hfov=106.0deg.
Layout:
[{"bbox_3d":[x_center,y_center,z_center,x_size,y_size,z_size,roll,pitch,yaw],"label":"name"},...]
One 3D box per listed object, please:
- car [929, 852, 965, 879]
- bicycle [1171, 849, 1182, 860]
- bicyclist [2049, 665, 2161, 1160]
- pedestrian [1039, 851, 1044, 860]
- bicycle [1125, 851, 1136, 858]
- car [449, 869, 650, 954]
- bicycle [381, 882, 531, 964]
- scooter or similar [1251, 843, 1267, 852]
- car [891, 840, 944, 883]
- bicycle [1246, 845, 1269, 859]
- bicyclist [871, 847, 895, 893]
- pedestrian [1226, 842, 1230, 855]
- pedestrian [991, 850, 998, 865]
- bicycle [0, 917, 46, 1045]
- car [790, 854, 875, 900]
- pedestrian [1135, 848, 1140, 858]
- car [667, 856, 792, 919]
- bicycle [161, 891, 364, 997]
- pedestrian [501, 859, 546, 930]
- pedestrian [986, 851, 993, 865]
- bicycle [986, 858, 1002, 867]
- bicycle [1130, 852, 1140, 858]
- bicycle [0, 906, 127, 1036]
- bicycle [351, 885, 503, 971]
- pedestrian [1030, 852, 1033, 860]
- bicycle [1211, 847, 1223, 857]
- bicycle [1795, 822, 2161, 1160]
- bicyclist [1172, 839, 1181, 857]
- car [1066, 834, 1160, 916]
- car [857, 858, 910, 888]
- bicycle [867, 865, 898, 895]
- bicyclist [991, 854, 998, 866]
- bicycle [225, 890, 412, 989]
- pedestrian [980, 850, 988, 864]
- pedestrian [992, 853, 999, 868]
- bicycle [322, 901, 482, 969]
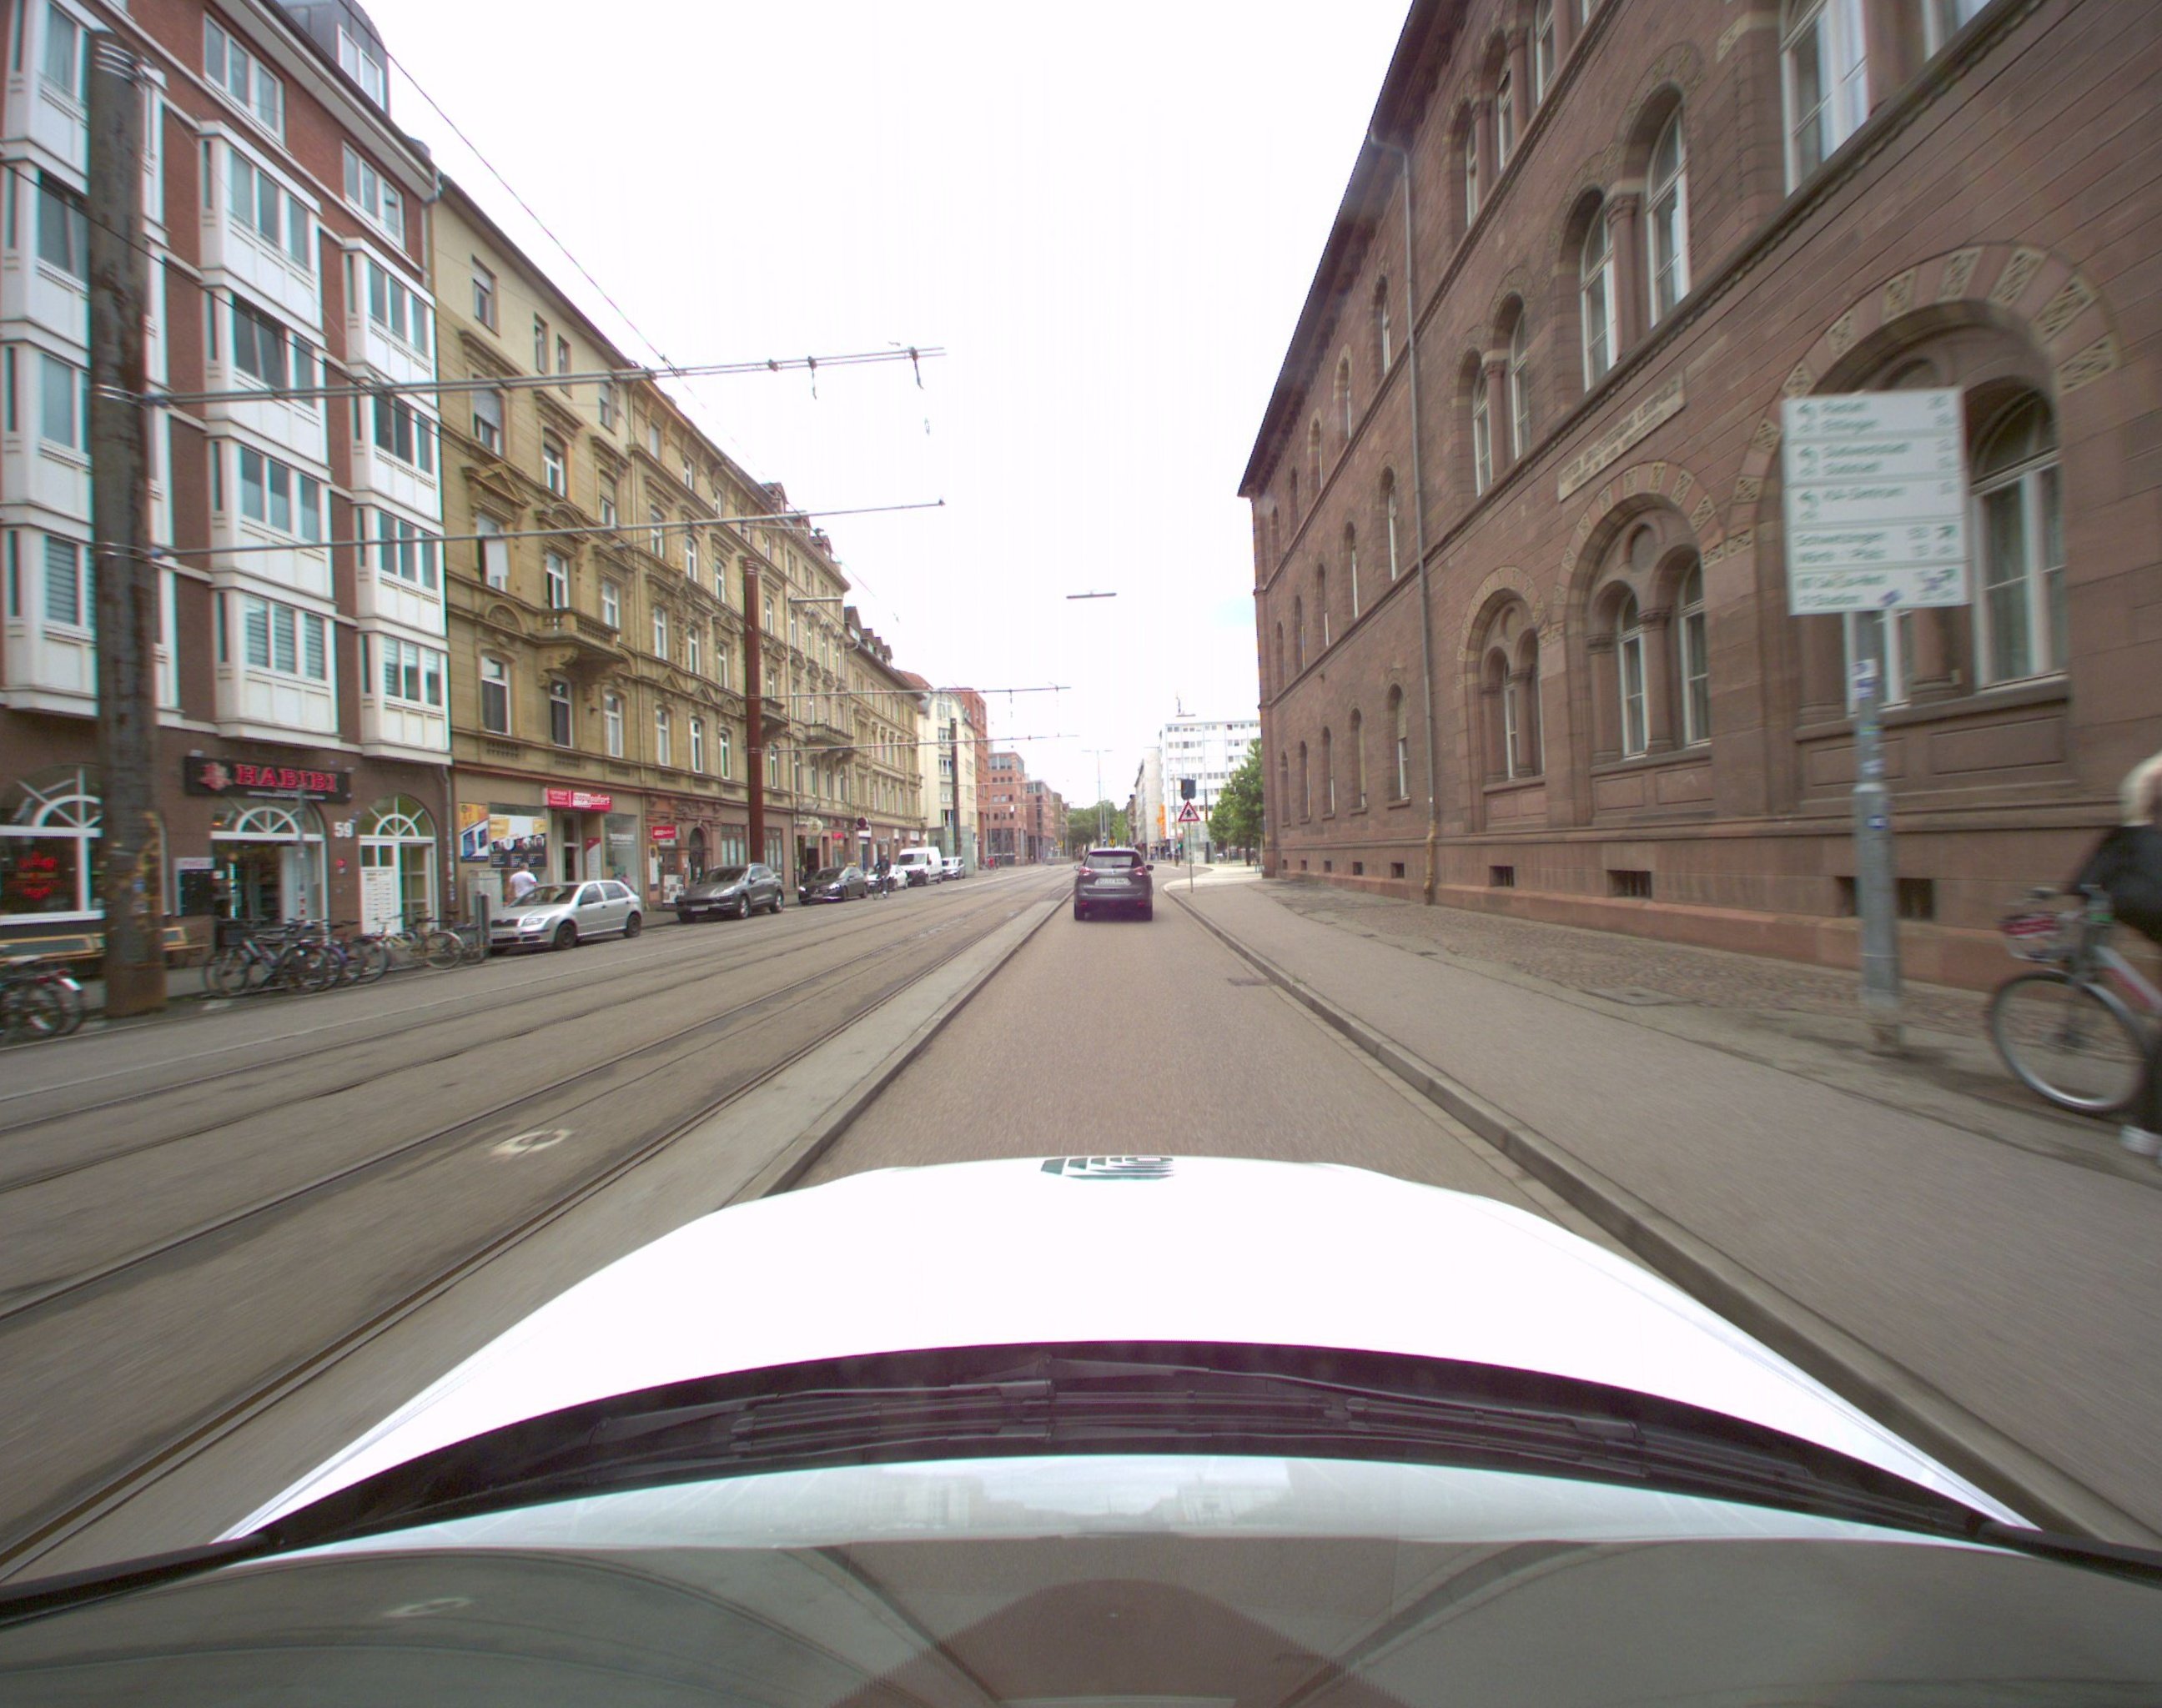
[{"bbox_3d":[-10.317,0.838,63.068,1.896,1.864,4.520,-4,0,1],"label":"car"},{"bbox_3d":[9.526,0.063,81.519,0.897,1.045,3.282,-2,0,5],"label":"bicycle"},{"bbox_3d":[4.305,0.216,3.129,0.527,1.858,0.451,-3,0,1],"label":"bicyclist"},{"bbox_3d":[-8.510,0.276,175.144,0.694,1.842,0.738,-1,0,17],"label":"pedestrian"},{"bbox_3d":[8.963,0.047,147.368,1.869,1.172,0.529,-1,0,-13],"label":"bicycle"},{"bbox_3d":[-11.582,1.170,18.105,1.737,1.488,3.921,-3,0,1],"label":"car"},{"bbox_3d":[-11.813,1.294,15.428,2.273,1.329,0.667,-4,0,2],"label":"bicycle"},{"bbox_3d":[21.232,-0.762,97.073,1.571,0.948,0.729,-4,-1,40],"label":"scooter or similar"},{"bbox_3d":[-10.492,0.436,52.694,2.046,2.486,5.667,-5,0,1],"label":"car"},{"bbox_3d":[14.876,-0.159,68.712,1.901,1.123,0.647,-1,0,12],"label":"bicycle"},{"bbox_3d":[-8.388,0.669,34.507,0.642,1.883,1.029,-1,0,3],"label":"bicyclist"},{"bbox_3d":[17.344,-0.624,96.072,0.431,1.555,0.499,-1,0,2],"label":"pedestrian"},{"bbox_3d":[-10.069,0.391,94.643,0.660,1.687,0.720,-2,-2,-11],"label":"pedestrian"},{"bbox_3d":[-12.264,1.327,8.556,2.273,1.294,0.448,0,0,2],"label":"bicycle"},{"bbox_3d":[-10.612,0.912,35.220,1.913,1.689,5.052,-5,0,1],"label":"car"},{"bbox_3d":[10.134,-0.183,146.286,0.731,1.745,0.662,-1,0,-6],"label":"pedestrian"},{"bbox_3d":[-11.195,1.000,26.397,1.808,1.689,5.030,-3,0,-1],"label":"car"},{"bbox_3d":[-11.989,1.307,11.969,2.273,1.329,0.667,-4,0,2],"label":"bicycle"},{"bbox_3d":[-14.356,1.025,20.978,0.646,1.782,0.790,-2,0,38],"label":"pedestrian"},{"bbox_3d":[-10.727,0.464,95.557,0.720,1.687,0.660,-2,-2,-9],"label":"pedestrian"},{"bbox_3d":[-10.845,1.048,101.321,1.903,1.021,0.480,-3,0,-6],"label":"bicycle"},{"bbox_3d":[9.762,0.172,146.890,1.697,1.065,0.435,-1,0,-12],"label":"bicycle"},{"bbox_3d":[-12.262,1.348,9.150,2.273,1.329,0.667,-4,0,2],"label":"bicycle"},{"bbox_3d":[-11.791,1.325,14.704,2.273,1.329,0.521,-4,0,2],"label":"bicycle"},{"bbox_3d":[-9.564,0.456,157.744,0.450,1.532,0.519,-1,0,-16],"label":"pedestrian"},{"bbox_3d":[14.476,-0.256,86.460,0.651,0.978,1.765,-3,0,30],"label":"bicycle"},{"bbox_3d":[4.330,0.521,3.553,0.443,1.276,2.227,-4,0,2],"label":"bicycle"},{"bbox_3d":[9.518,-0.609,81.361,0.830,1.812,0.878,-1,0,4],"label":"bicyclist"},{"bbox_3d":[0.667,0.420,20.252,1.859,1.774,4.561,1,1,-4],"label":"car"},{"bbox_3d":[-10.752,0.985,44.663,1.765,1.422,4.165,-5,0,1],"label":"car"},{"bbox_3d":[-8.385,1.077,34.485,0.582,1.174,2.047,-4,0,4],"label":"bicycle"},{"bbox_3d":[-10.766,0.731,101.336,0.808,1.407,0.480,-3,0,-5],"label":"bicyclist"},{"bbox_3d":[-11.946,1.320,12.797,2.273,1.329,0.667,-4,0,2],"label":"bicycle"},{"bbox_3d":[-11.533,0.354,97.091,0.869,1.687,0.659,-2,-2,-13],"label":"pedestrian"},{"bbox_3d":[-10.928,0.856,104.042,0.894,1.890,0.799,-1,-1,-1],"label":"pedestrian"},{"bbox_3d":[-11.799,1.403,14.185,2.273,1.041,0.620,-2,0,2],"label":"bicycle"}]
